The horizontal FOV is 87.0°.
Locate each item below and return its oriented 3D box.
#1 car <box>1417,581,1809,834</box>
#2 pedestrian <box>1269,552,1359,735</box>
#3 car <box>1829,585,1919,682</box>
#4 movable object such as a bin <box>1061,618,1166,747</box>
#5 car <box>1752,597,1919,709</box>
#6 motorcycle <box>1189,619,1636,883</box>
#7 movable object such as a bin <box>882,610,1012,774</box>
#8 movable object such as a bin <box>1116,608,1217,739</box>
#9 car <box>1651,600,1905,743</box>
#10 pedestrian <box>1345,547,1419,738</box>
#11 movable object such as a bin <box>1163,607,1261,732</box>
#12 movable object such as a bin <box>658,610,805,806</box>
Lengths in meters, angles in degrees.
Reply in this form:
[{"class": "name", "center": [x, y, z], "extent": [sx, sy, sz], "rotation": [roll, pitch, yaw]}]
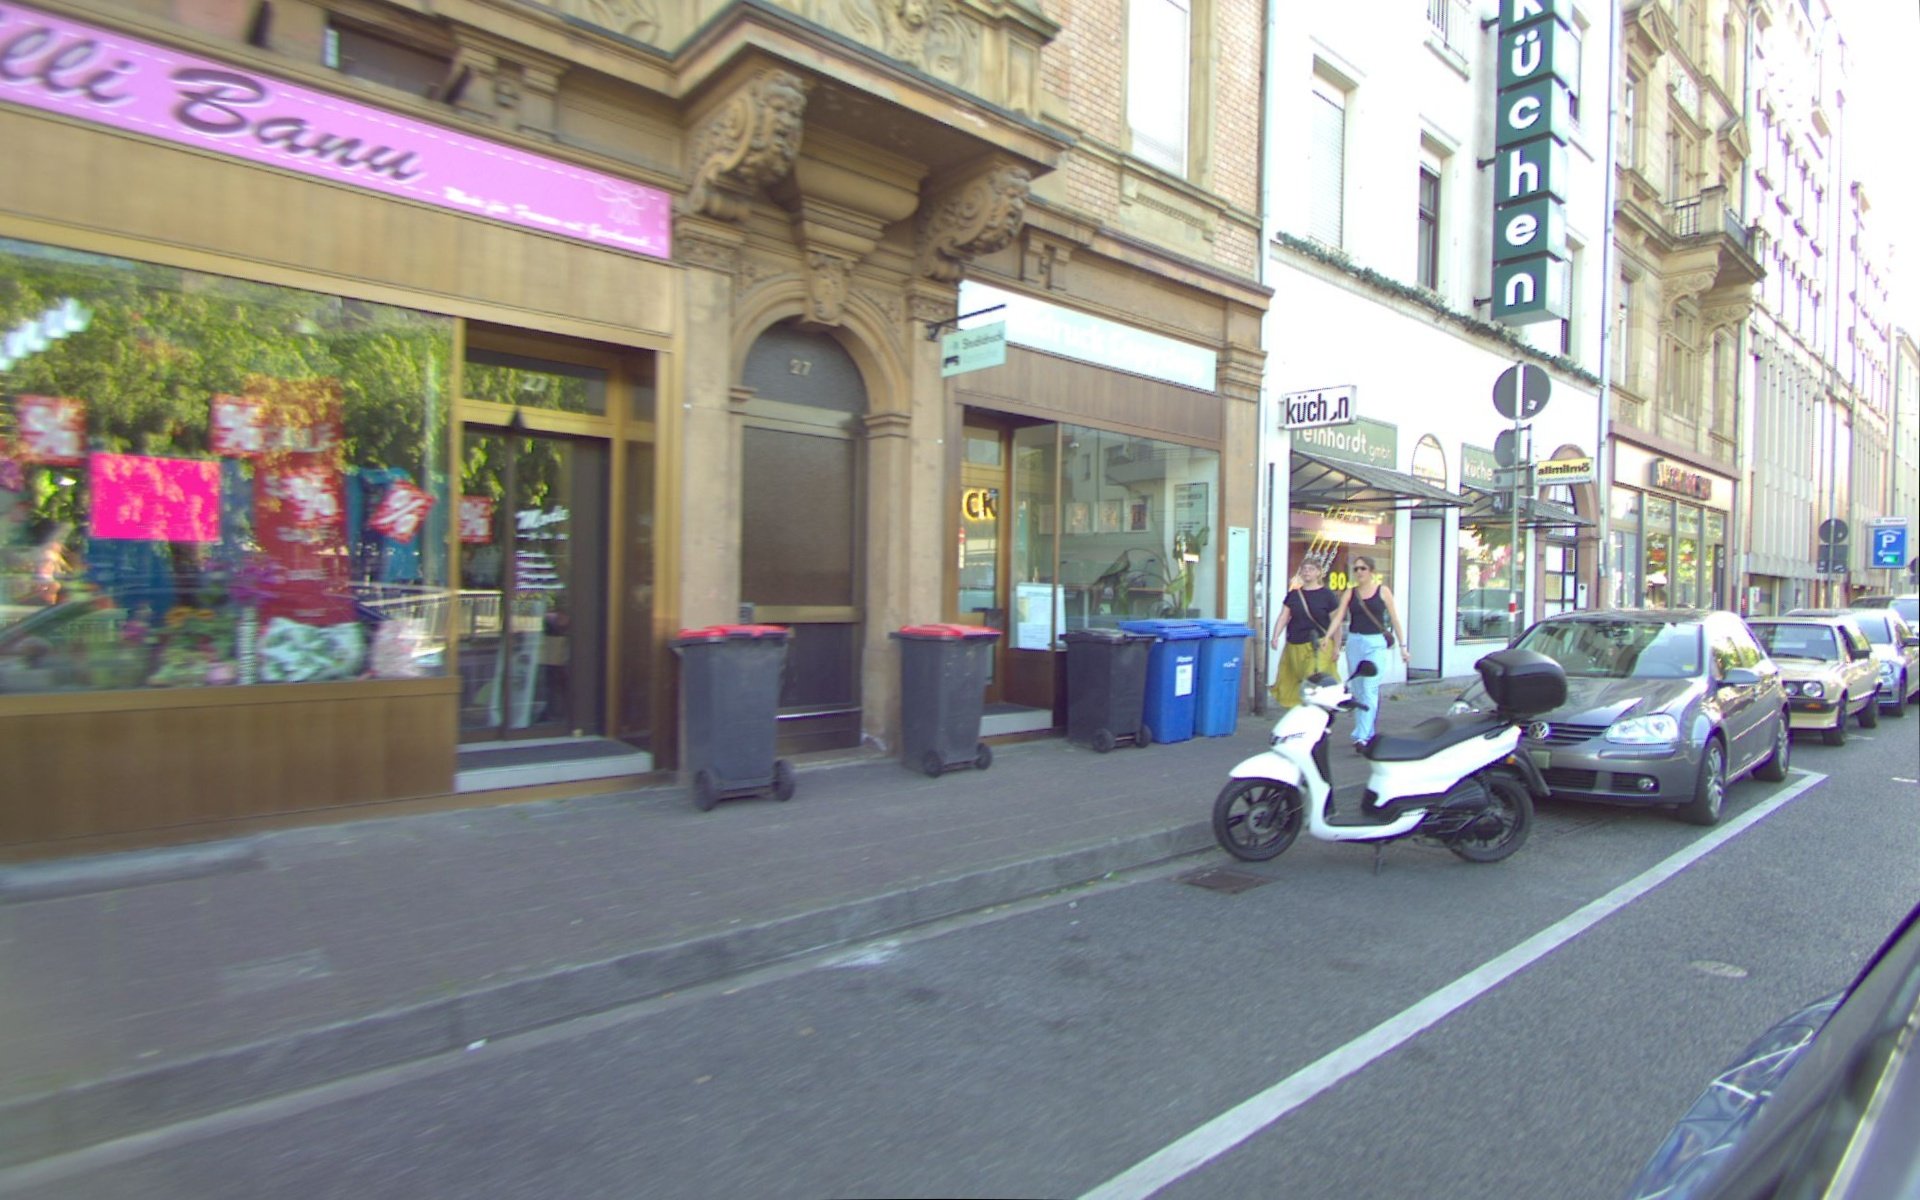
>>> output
[{"class": "car", "center": [5.443, 0.647, 8.207], "extent": [4.095, 1.537, 1.735], "rotation": [0, 0, -43]}, {"class": "pedestrian", "center": [3.348, 0.390, 9.579], "extent": [0.616, 1.653, 0.456], "rotation": [3, 2, 40]}, {"class": "car", "center": [18.195, 0.585, 19.294], "extent": [3.978, 1.711, 1.894], "rotation": [0, 0, -41]}, {"class": "movable object such as a bin", "center": [1.314, 0.682, 8.676], "extent": [0.608, 1.004, 0.606], "rotation": [1, 3, -40]}, {"class": "car", "center": [13.288, 0.686, 15.004], "extent": [3.735, 1.435, 1.736], "rotation": [0, 0, -41]}, {"class": "motorcycle", "center": [2.443, 0.783, 5.748], "extent": [2.137, 1.295, 0.866], "rotation": [1, 0, 8]}, {"class": "movable object such as a bin", "center": [-0.104, 0.646, 7.503], "extent": [0.608, 1.084, 0.716], "rotation": [1, 3, -40]}, {"class": "movable object such as a bin", "center": [1.865, 0.641, 9.146], "extent": [0.608, 1.086, 0.606], "rotation": [1, 3, -40]}, {"class": "car", "center": [9.869, 0.726, 12.122], "extent": [3.735, 1.435, 1.736], "rotation": [0, 0, -41]}, {"class": "pedestrian", "center": [3.781, 0.365, 9.072], "extent": [0.513, 1.653, 0.408], "rotation": [0, 0, 41]}, {"class": "movable object such as a bin", "center": [2.384, 0.632, 9.583], "extent": [0.608, 1.086, 0.606], "rotation": [1, 3, -40]}, {"class": "movable object such as a bin", "center": [-1.433, 0.630, 6.319], "extent": [0.608, 1.084, 0.716], "rotation": [1, 3, -40]}]
